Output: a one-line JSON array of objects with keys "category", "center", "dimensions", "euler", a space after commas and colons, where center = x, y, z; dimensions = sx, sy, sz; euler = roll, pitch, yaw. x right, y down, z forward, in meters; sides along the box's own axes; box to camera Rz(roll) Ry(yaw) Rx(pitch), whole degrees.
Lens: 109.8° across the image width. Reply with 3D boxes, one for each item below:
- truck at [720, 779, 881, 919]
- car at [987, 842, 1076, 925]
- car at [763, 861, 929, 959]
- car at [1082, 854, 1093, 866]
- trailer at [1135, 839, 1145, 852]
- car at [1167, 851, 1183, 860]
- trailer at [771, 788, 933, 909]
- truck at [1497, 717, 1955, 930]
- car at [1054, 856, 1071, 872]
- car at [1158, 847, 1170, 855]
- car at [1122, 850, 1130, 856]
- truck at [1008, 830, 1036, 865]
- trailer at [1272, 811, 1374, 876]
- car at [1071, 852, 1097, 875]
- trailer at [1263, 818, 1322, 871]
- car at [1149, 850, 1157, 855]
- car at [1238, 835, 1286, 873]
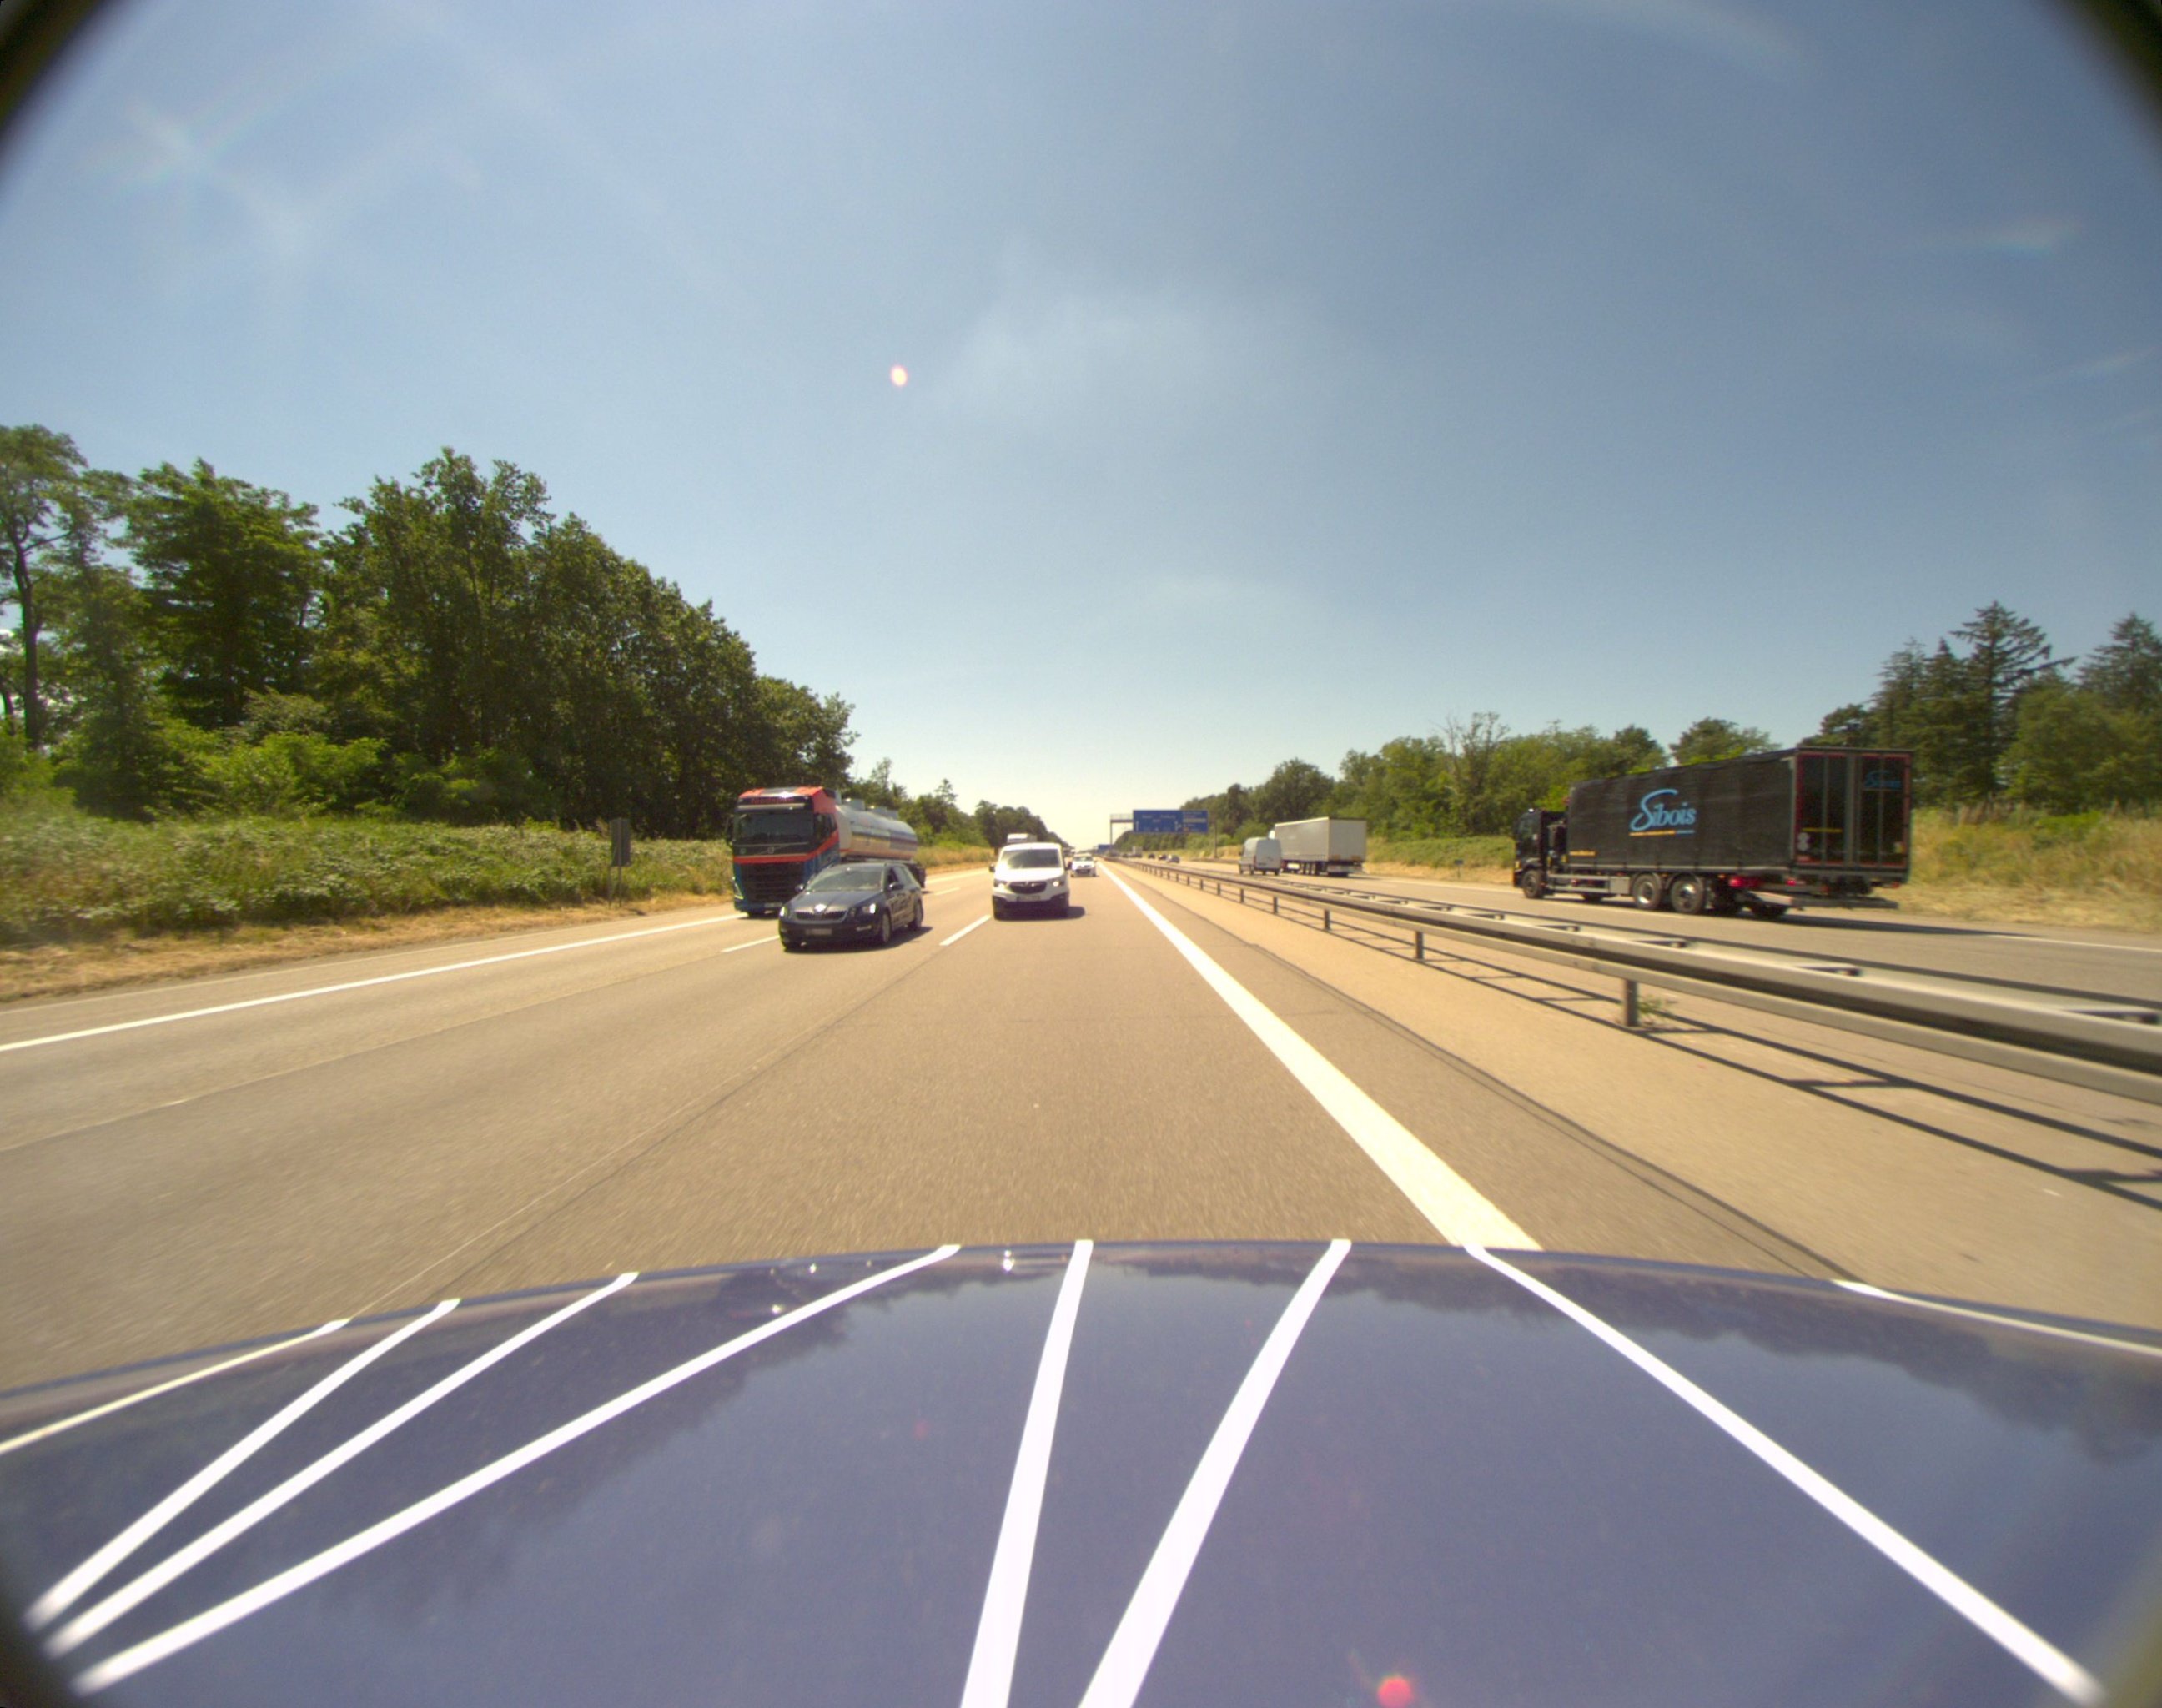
[{"category": "truck", "center": [-8.408, -0.162, 23.650], "dimensions": [2.535, 3.712, 6.098], "euler": [-2, 1, 1]}, {"category": "car", "center": [-1.129, 0.641, 19.587], "dimensions": [1.870, 1.807, 4.940], "euler": [-2, 0, 0]}, {"category": "car", "center": [-4.285, 0.946, 14.634], "dimensions": [1.806, 1.475, 4.271], "euler": [-2, 0, 0]}, {"category": "car", "center": [1.155, 1.010, 136.924], "dimensions": [1.998, 2.002, 4.000], "euler": [-2, 0, 1]}, {"category": "trailer", "center": [20.672, -2.938, 267.933], "dimensions": [3.065, 4.258, 8.635], "euler": [0, 0, 1]}, {"category": "car", "center": [14.825, 0.246, 120.107], "dimensions": [1.967, 1.420, 5.289], "euler": [1, 0, 0]}, {"category": "trailer", "center": [-8.303, -0.203, 29.622], "dimensions": [2.535, 3.712, 11.548], "euler": [-2, 0, 1]}, {"category": "truck", "center": [17.495, -0.718, 22.809], "dimensions": [3.385, 4.598, 12.186], "euler": [2, 1, 1]}, {"category": "car", "center": [-2.474, 1.312, 101.954], "dimensions": [1.998, 2.002, 4.000], "euler": [-2, 0, 1]}, {"category": "car", "center": [18.046, -0.650, 164.879], "dimensions": [1.967, 1.516, 5.289], "euler": [1, 0, 0]}, {"category": "car", "center": [13.166, -0.413, 222.954], "dimensions": [1.967, 1.708, 5.289], "euler": [1, 0, 0]}, {"category": "truck", "center": [-7.083, -0.766, 92.062], "dimensions": [2.603, 3.980, 6.173], "euler": [-2, 1, 1]}, {"category": "trailer", "center": [17.646, -0.716, 56.903], "dimensions": [3.163, 4.174, 14.125], "euler": [2, 0, 1]}, {"category": "car", "center": [0.230, 0.587, 49.063], "dimensions": [1.581, 1.412, 3.352], "euler": [-2, 0, 1]}, {"category": "trailer", "center": [17.725, -0.763, 63.982], "dimensions": [3.163, 4.174, 6.325], "euler": [2, 1, 1]}, {"category": "car", "center": [20.114, -0.441, 211.422], "dimensions": [1.836, 1.545, 4.949], "euler": [1, 0, 0]}, {"category": "car", "center": [13.008, -0.038, 55.133], "dimensions": [1.998, 2.555, 6.389], "euler": [1, 0, 1]}]
